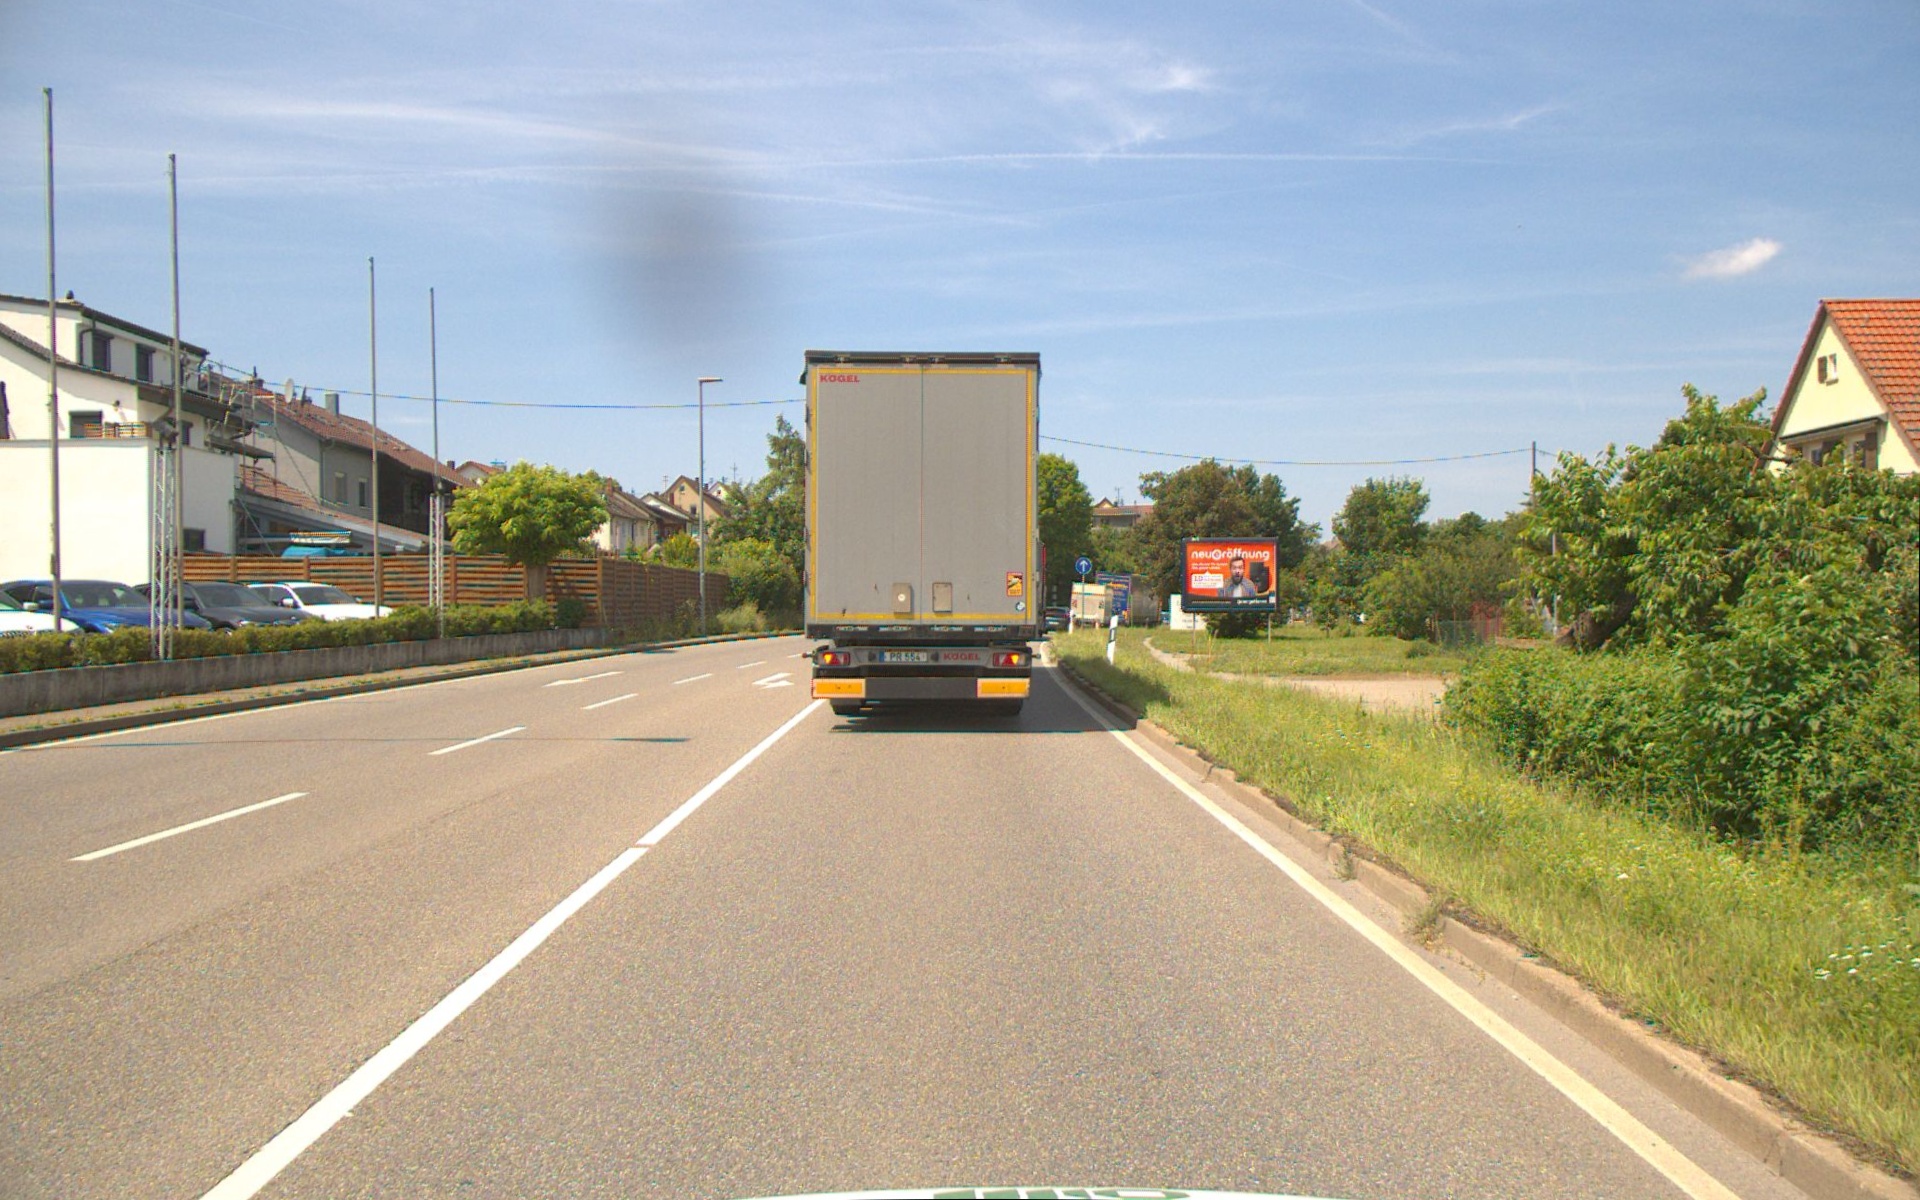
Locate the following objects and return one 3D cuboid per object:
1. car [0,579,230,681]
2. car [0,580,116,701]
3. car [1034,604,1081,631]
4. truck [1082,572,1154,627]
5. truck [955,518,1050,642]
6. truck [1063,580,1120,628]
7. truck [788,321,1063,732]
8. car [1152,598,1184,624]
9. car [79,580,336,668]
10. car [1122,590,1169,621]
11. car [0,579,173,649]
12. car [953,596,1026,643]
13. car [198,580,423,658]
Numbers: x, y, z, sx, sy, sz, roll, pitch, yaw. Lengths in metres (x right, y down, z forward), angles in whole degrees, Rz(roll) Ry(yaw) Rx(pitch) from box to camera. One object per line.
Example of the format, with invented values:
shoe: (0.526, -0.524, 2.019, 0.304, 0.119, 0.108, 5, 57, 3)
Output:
car: (-13.760, 0.443, 25.924, 4.241, 1.473, 1.856, 1, -1, 24)
car: (-13.345, 0.469, 21.932, 4.420, 1.473, 1.852, 1, 0, 33)
car: (5.379, 0.966, 90.648, 1.951, 1.400, 4.003, 1, -1, 13)
truck: (11.140, -0.051, 115.966, 3.360, 3.667, 9.360, 1, 0, 16)
truck: (1.968, -0.581, 67.172, 2.702, 4.364, 16.424, 1, -1, 5)
truck: (8.315, 0.285, 103.739, 2.489, 2.852, 6.036, 1, -1, 15)
truck: (-0.378, -0.748, 22.824, 2.764, 4.200, 11.442, 1, 0, 0)
car: (17.156, 0.950, 136.460, 1.951, 2.049, 4.002, 1, -1, 16)
car: (-13.517, 0.414, 29.688, 4.242, 1.473, 1.897, 1, -1, 25)
car: (14.134, 0.412, 125.635, 2.478, 2.317, 6.385, 1, 0, 16)
car: (-20.689, 0.301, 38.586, 3.902, 1.536, 1.836, 1, 0, 14)
car: (0.959, 0.605, 51.350, 1.780, 1.370, 3.850, 1, -1, 8)
car: (-13.251, 0.374, 33.744, 4.242, 1.473, 1.855, 1, -1, 25)
